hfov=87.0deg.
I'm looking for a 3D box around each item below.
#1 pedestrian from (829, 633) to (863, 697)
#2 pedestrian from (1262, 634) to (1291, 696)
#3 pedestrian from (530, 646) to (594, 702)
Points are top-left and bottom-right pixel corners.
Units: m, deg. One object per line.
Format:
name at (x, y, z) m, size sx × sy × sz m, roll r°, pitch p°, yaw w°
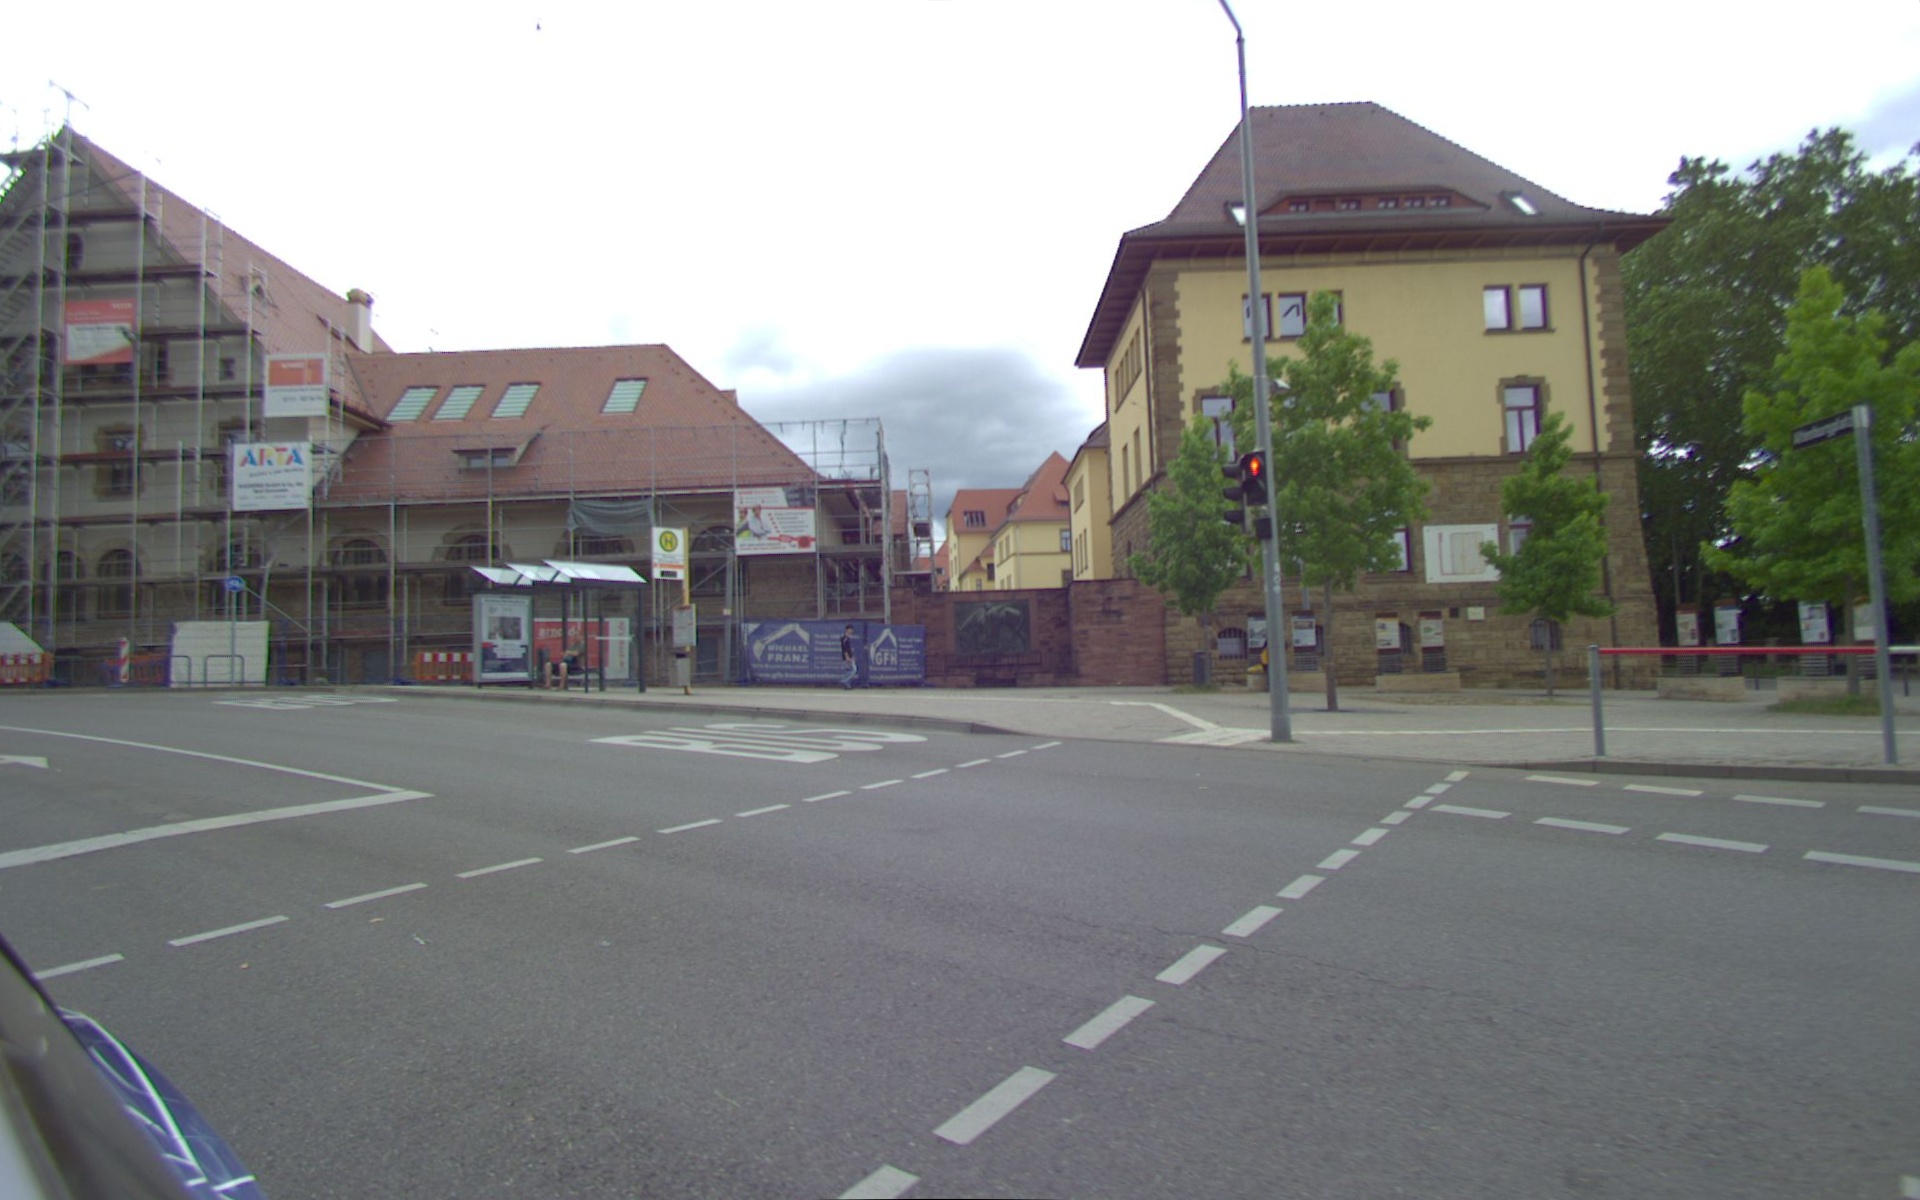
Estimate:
pedestrian at (-3.140, 1.783, 27.979) m, size 0.788 × 1.733 × 0.925 m, roll -1°, pitch -3°, yaw 3°
pedestrian at (8.143, 1.670, 26.072) m, size 0.647 × 1.589 × 0.537 m, roll -1°, pitch -3°, yaw 16°
pedestrian at (-8.836, 1.646, 22.493) m, size 0.901 × 1.201 × 0.926 m, roll -2°, pitch -5°, yaw 29°
